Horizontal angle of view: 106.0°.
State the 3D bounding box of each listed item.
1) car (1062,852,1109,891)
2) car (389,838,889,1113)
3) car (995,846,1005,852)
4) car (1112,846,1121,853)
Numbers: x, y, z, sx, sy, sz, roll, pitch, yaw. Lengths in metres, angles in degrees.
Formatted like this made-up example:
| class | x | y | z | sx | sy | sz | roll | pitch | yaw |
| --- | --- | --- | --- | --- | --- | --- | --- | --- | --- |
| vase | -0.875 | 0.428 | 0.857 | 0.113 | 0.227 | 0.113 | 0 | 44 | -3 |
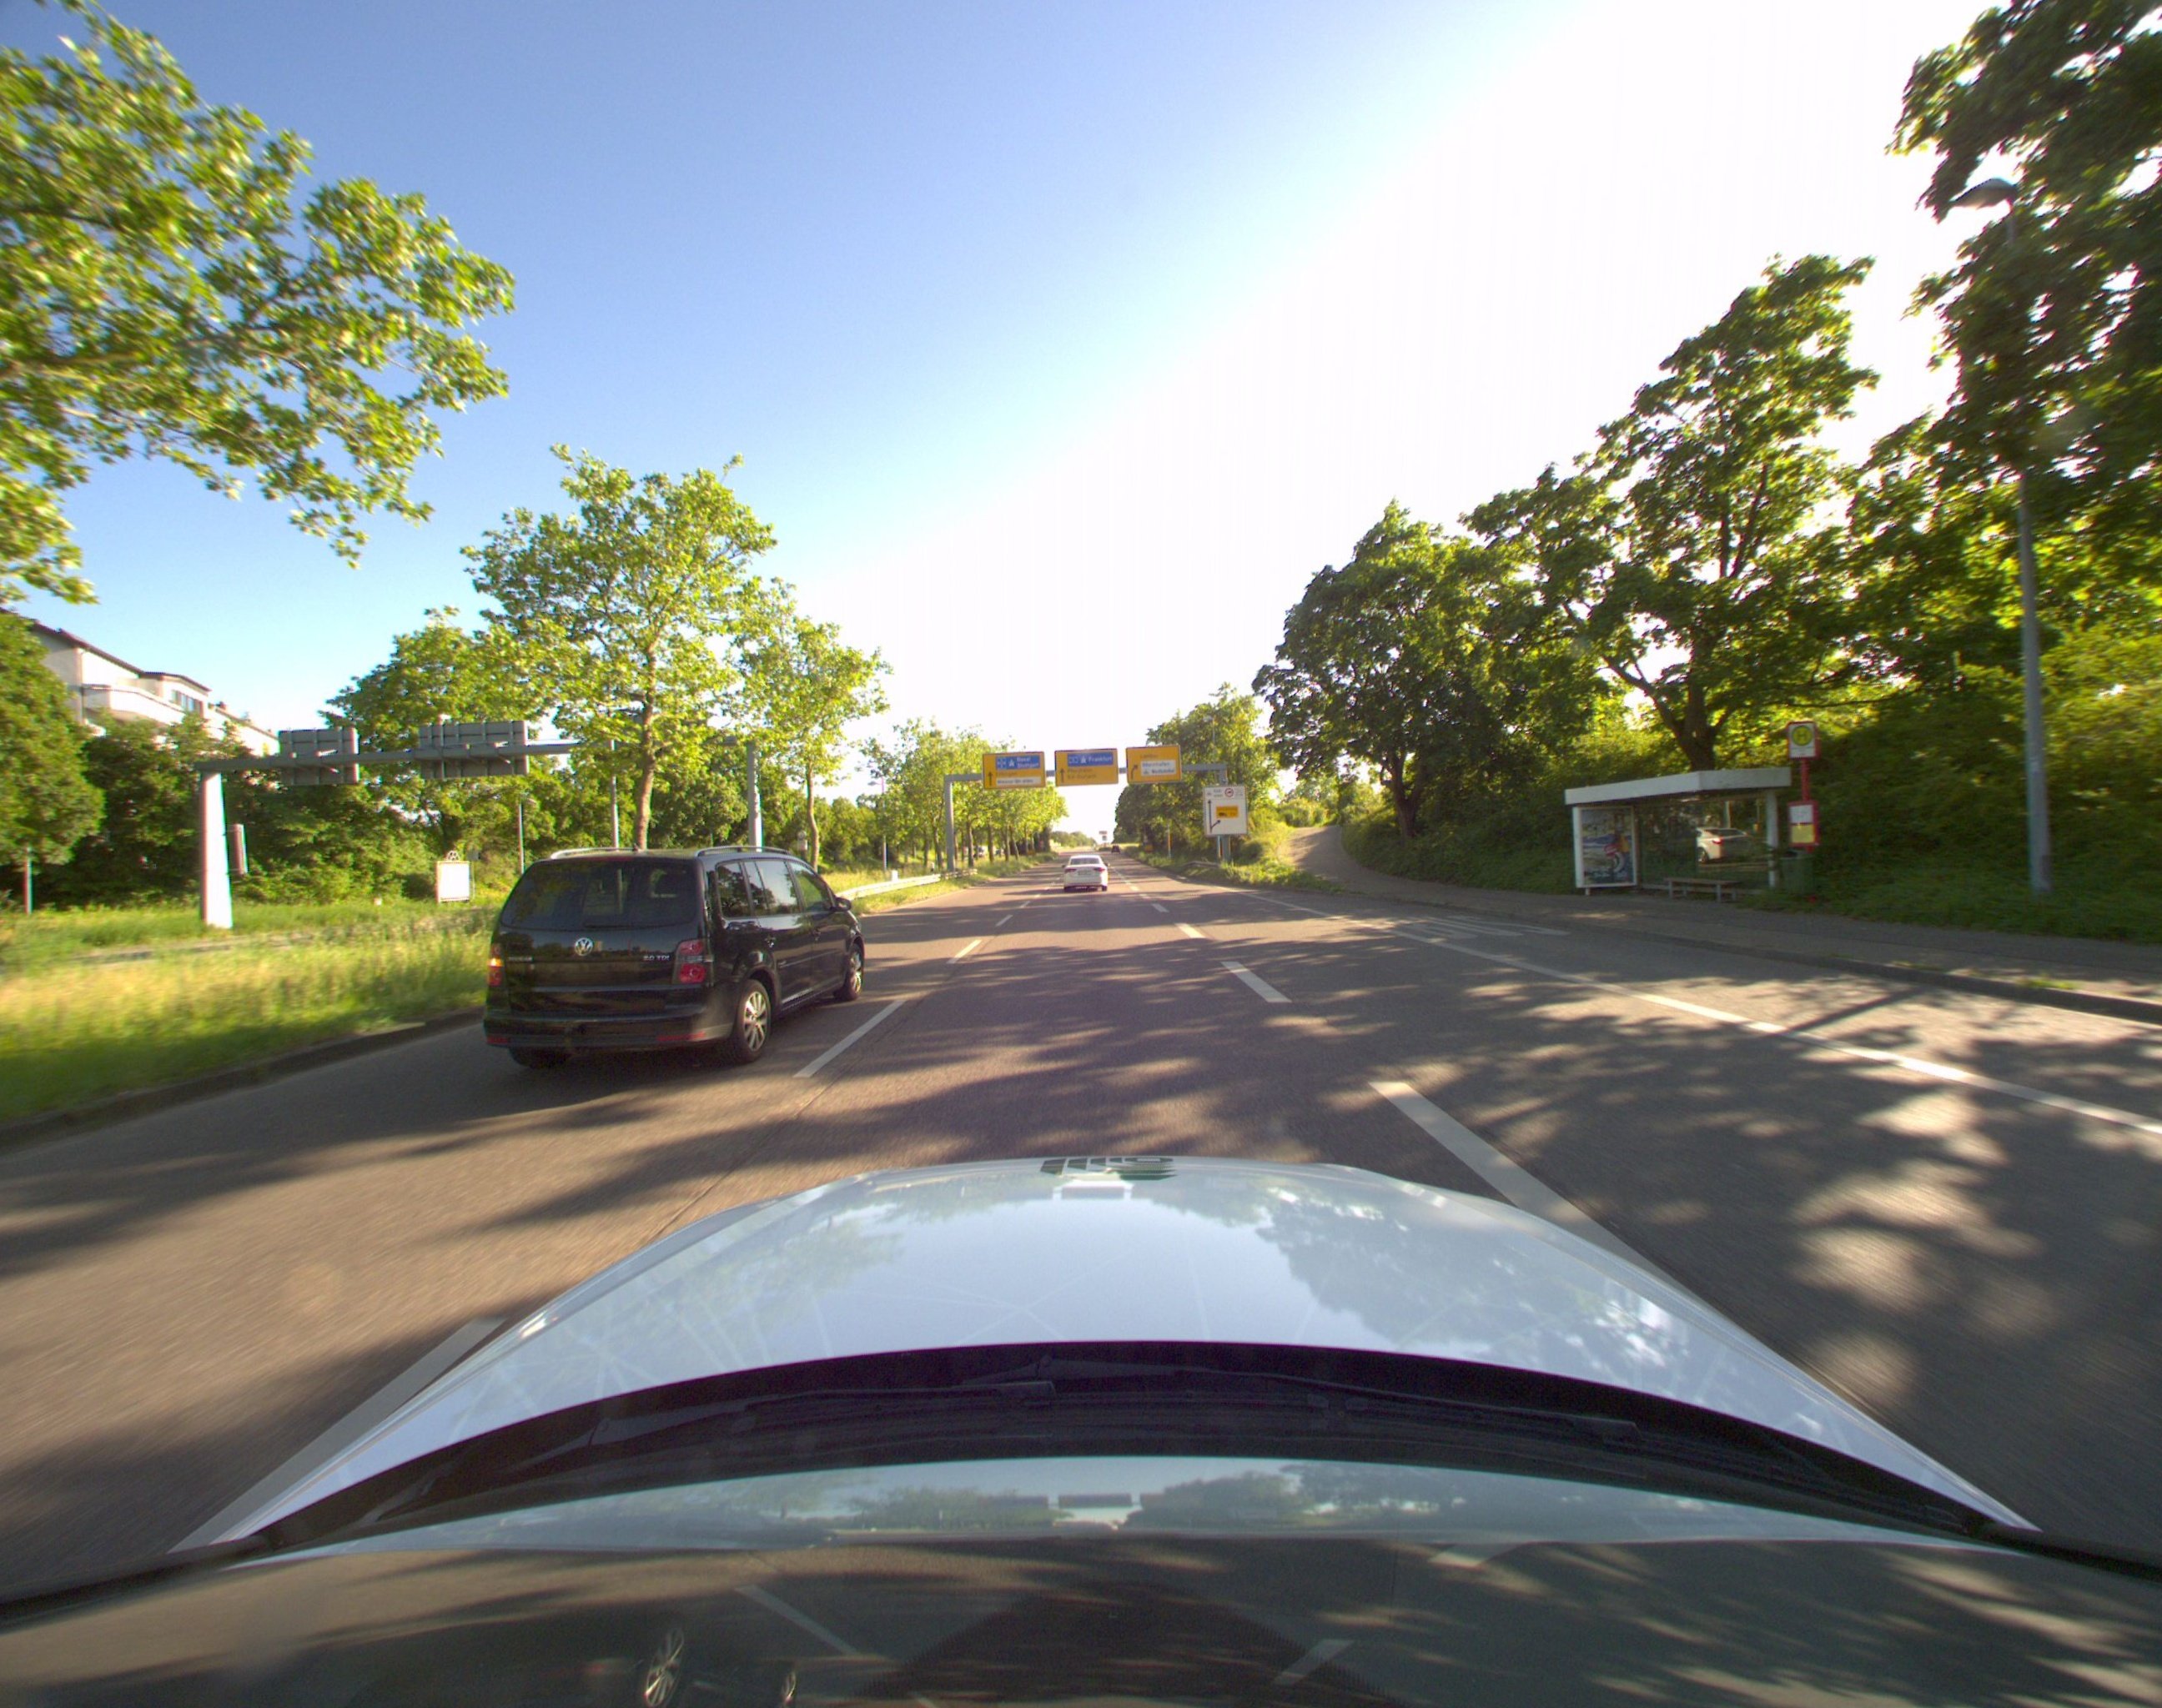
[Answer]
| class | x | y | z | sx | sy | sz | roll | pitch | yaw |
| --- | --- | --- | --- | --- | --- | --- | --- | --- | --- |
| car | 0.203 | 0.684 | 34.285 | 1.762 | 1.464 | 4.366 | -3 | 0 | 0 |
| car | -3.283 | 0.742 | 7.438 | 1.761 | 1.644 | 4.924 | -1 | 0 | 1 |
| car | -19.441 | -1.159 | 195.921 | 1.761 | 1.464 | 4.367 | -3 | 0 | 1 |
| car | 7.038 | -0.905 | 162.854 | 1.761 | 1.464 | 4.369 | -2 | 0 | 2 |
